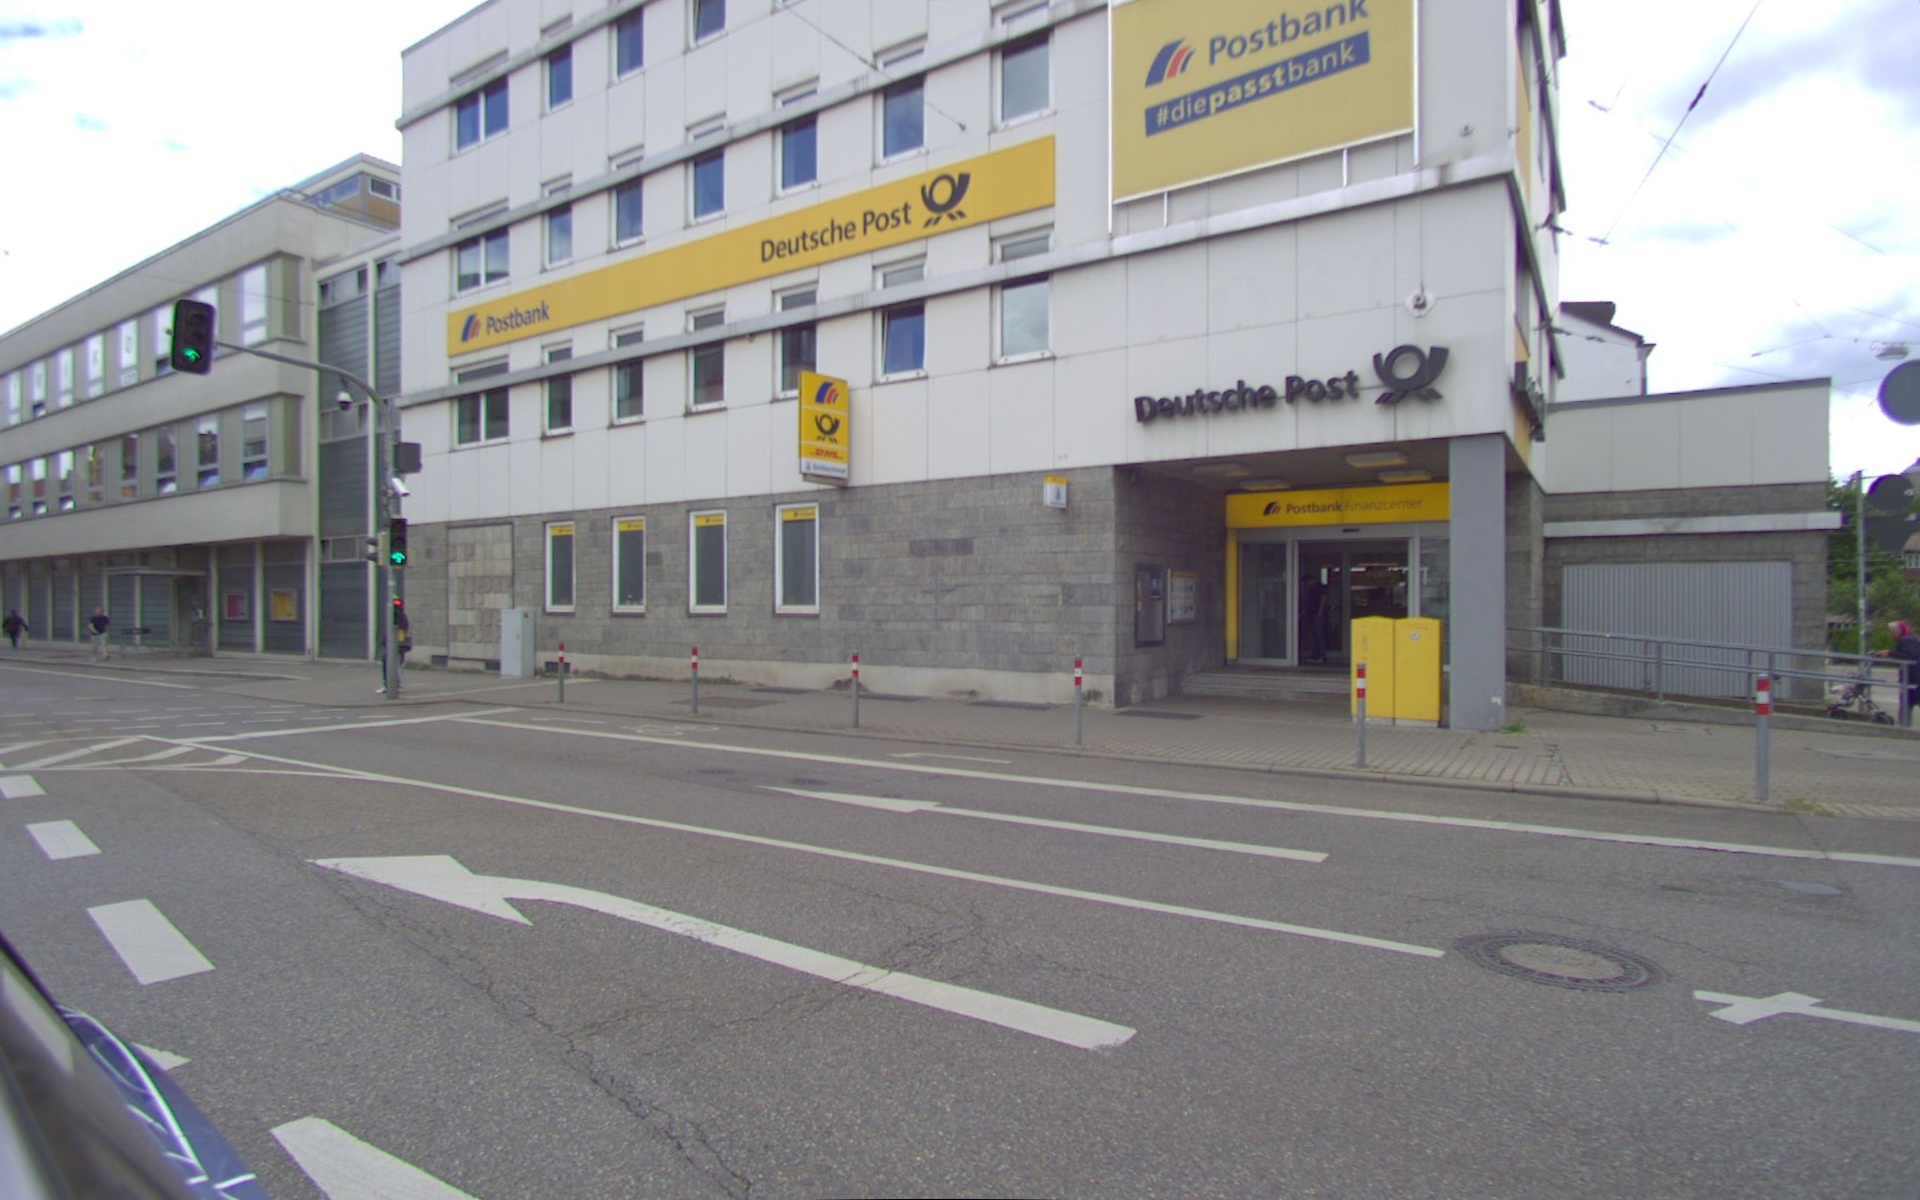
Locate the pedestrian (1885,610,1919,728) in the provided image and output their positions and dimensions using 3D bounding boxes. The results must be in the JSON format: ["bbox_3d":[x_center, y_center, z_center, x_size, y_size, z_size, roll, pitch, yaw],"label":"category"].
[{"bbox_3d":[11.882,0.832,12.338,0.494,1.425,0.755,-1,-1,-31],"label":"pedestrian"}]

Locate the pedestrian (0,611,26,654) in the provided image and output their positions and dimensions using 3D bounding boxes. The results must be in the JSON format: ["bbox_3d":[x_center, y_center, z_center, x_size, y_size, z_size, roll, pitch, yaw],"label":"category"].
[{"bbox_3d":[-39.637,1.356,42.121,1.028,1.731,0.855,-1,1,32],"label":"pedestrian"}]

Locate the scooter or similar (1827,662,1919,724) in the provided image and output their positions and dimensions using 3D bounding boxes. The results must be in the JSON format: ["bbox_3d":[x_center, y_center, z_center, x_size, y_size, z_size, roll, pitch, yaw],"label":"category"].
[{"bbox_3d":[11.566,1.156,12.750,0.340,0.697,0.894,-1,-1,-30],"label":"scooter or similar"}]

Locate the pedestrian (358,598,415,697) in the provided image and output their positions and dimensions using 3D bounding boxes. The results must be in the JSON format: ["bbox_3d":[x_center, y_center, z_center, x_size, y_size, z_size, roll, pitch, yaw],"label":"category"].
[{"bbox_3d":[-10.457,0.847,18.450,0.782,1.731,0.641,-1,0,41],"label":"pedestrian"}]

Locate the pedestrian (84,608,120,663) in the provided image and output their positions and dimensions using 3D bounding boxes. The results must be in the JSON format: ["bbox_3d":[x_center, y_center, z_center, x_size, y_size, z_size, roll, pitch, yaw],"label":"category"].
[{"bbox_3d":[-27.665,1.129,32.624,1.052,1.731,0.585,-1,-1,32],"label":"pedestrian"}]
